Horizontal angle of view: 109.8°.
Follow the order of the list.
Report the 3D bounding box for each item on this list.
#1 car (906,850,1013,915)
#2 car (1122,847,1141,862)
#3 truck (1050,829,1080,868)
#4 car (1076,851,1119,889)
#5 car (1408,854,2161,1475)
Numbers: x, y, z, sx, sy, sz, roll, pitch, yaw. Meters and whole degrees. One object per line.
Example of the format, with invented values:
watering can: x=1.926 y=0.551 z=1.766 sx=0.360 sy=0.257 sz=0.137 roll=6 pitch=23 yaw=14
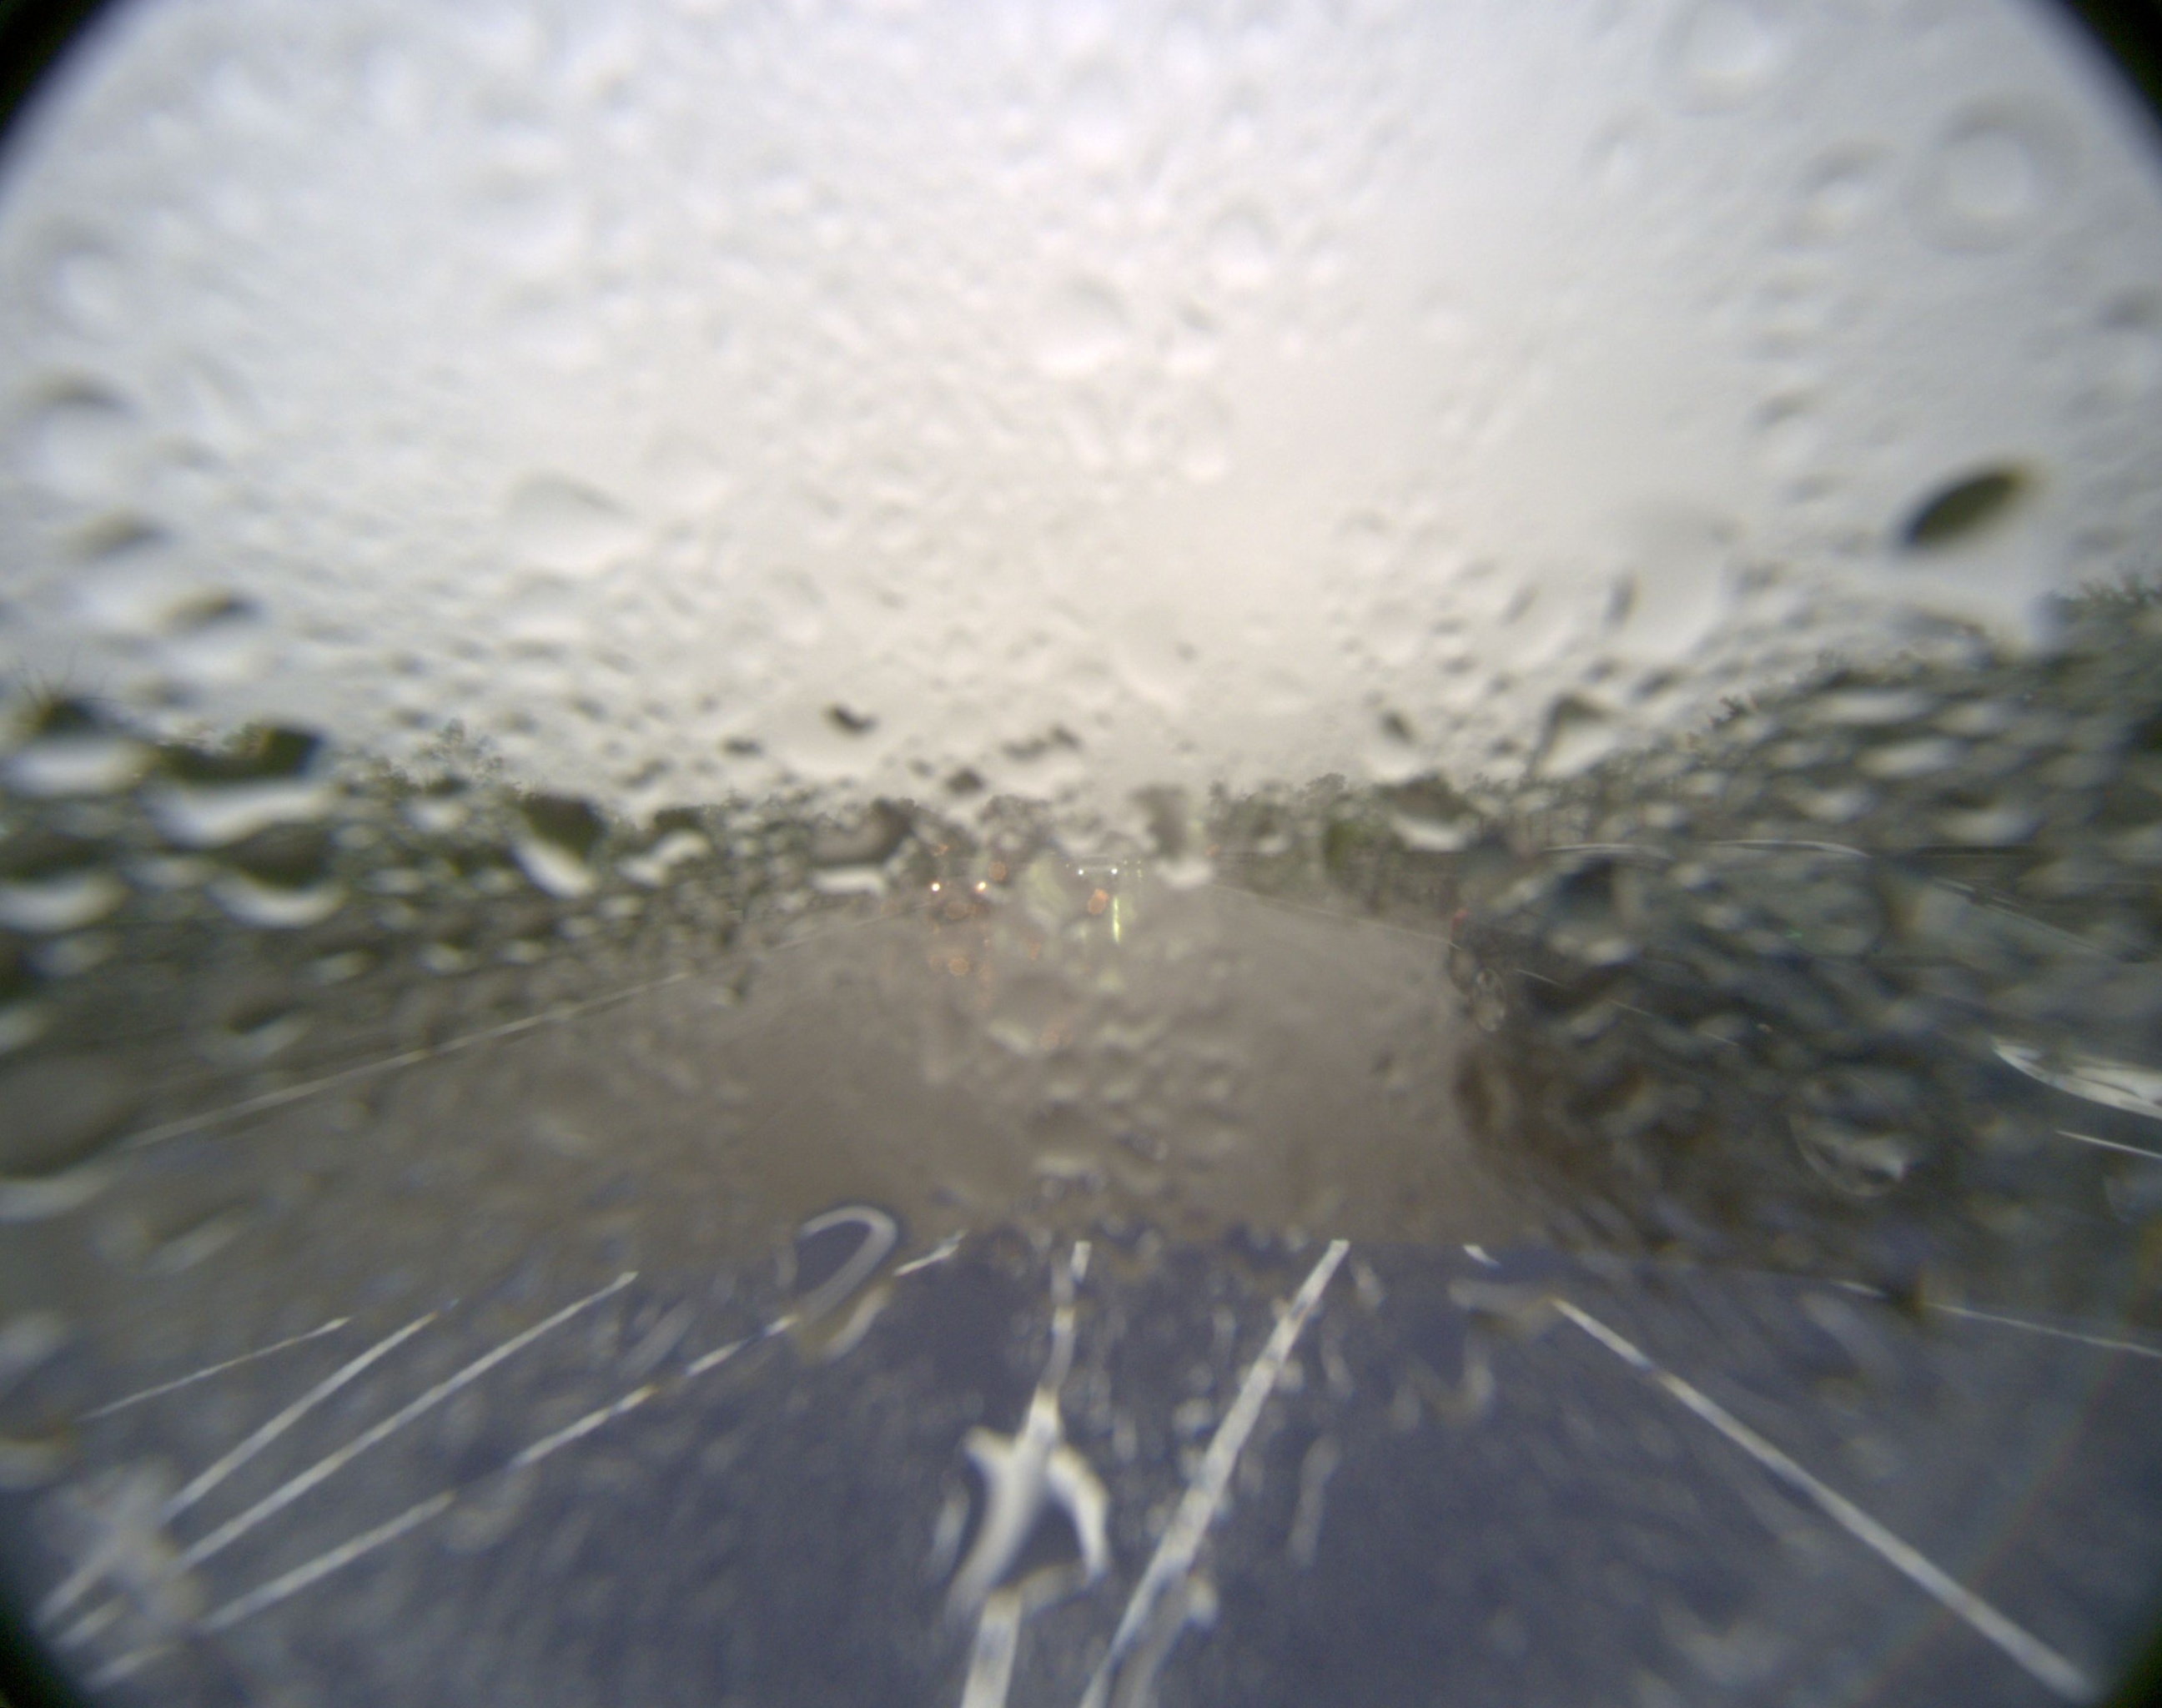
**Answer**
car: x=-3.704 y=0.797 z=24.422 sx=2.464 sy=1.736 sz=5.718 roll=-2 pitch=0 yaw=0
car: x=5.528 y=0.061 z=83.209 sx=1.900 sy=1.533 sz=4.090 roll=-2 pitch=0 yaw=2
truck: x=-1.688 y=-0.584 z=83.428 sx=2.755 sy=4.055 sz=6.483 roll=-2 pitch=0 yaw=3
car: x=0.814 y=0.670 z=34.198 sx=1.751 sy=1.545 sz=4.091 roll=-2 pitch=0 yaw=3
car: x=3.788 y=0.788 z=3.899 sx=2.059 sy=1.477 sz=5.158 roll=-2 pitch=0 yaw=1
